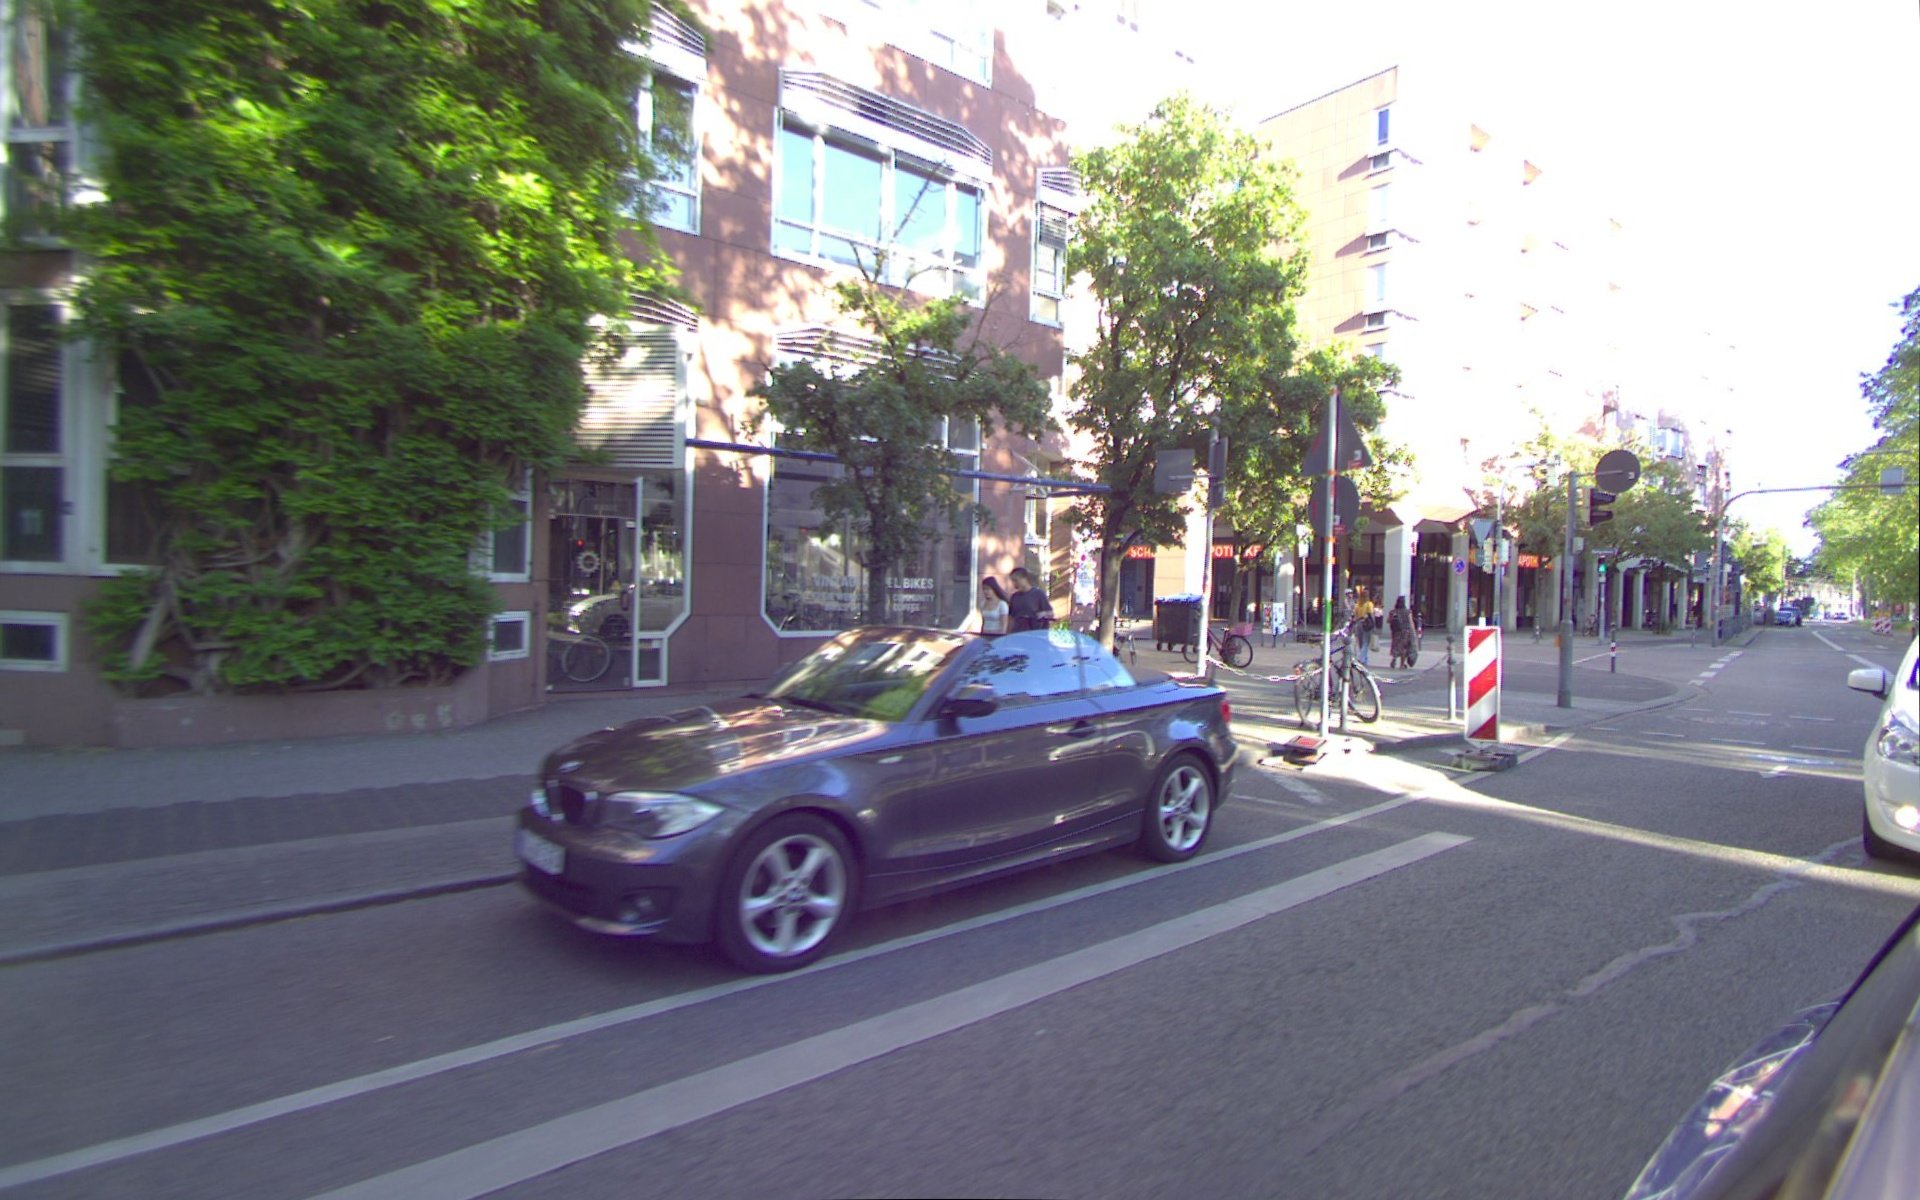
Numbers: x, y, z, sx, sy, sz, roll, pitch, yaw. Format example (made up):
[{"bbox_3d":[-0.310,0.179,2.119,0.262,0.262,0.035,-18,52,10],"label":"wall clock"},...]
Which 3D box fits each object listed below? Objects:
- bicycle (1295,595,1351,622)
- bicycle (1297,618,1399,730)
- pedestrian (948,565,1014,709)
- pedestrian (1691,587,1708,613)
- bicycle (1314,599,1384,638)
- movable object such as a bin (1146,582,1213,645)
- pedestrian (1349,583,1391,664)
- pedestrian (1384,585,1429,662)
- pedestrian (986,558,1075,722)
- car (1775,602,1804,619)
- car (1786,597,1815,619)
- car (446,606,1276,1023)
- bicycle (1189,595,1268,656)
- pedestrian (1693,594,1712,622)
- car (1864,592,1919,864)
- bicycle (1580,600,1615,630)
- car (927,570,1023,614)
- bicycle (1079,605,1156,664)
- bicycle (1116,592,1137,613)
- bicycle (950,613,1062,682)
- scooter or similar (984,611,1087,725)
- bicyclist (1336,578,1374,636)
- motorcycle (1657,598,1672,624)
[{"bbox_3d":[16.662,0.378,46.538,0.583,1.108,2.448,1,1,-40],"label":"bicycle"},{"bbox_3d":[4.296,0.761,11.142,0.734,1.066,1.732,2,1,31],"label":"bicycle"},{"bbox_3d":[0.262,0.434,12.375,0.459,1.693,0.669,2,1,42],"label":"pedestrian"},{"bbox_3d":[58.000,-0.017,79.366,0.806,2.006,0.844,1,0,14],"label":"pedestrian"},{"bbox_3d":[12.407,0.572,32.334,0.789,1.127,1.919,0,1,-40],"label":"bicycle"},{"bbox_3d":[5.488,0.319,25.387,0.855,1.500,1.414,1,1,-37],"label":"movable object such as a bin"},{"bbox_3d":[9.076,0.502,22.380,0.697,1.755,0.758,1,1,33],"label":"pedestrian"},{"bbox_3d":[9.547,0.492,21.631,0.644,1.598,0.736,2,1,44],"label":"pedestrian"},{"bbox_3d":[0.797,0.425,11.476,0.599,1.785,0.787,1,1,-40],"label":"pedestrian"},{"bbox_3d":[76.342,0.956,93.102,1.702,1.502,4.182,4,2,43],"label":"car"},{"bbox_3d":[85.233,0.798,102.626,2.035,1.967,5.124,4,2,39],"label":"car"},{"bbox_3d":[-0.211,0.728,5.378,4.236,1.318,1.623,0,1,-41],"label":"car"},{"bbox_3d":[5.788,0.529,21.870,0.568,1.242,1.569,1,1,-43],"label":"bicycle"},{"bbox_3d":[47.370,0.516,64.529,0.822,1.760,0.782,1,1,-40],"label":"pedestrian"},{"bbox_3d":[7.169,0.706,6.574,1.716,1.470,4.353,-1,-2,44],"label":"car"},{"bbox_3d":[27.425,0.635,43.494,1.891,1.241,0.623,1,1,-37],"label":"bicycle"},{"bbox_3d":[0.606,-0.384,43.110,1.770,1.743,4.194,0,2,-40],"label":"car"},{"bbox_3d":[3.135,0.667,20.331,0.724,1.066,1.756,1,1,-22],"label":"bicycle"},{"bbox_3d":[8.435,0.138,51.237,0.599,1.032,1.320,1,1,-10],"label":"bicycle"},{"bbox_3d":[0.717,0.702,15.492,0.737,0.951,1.724,2,1,45],"label":"bicycle"},{"bbox_3d":[0.851,0.723,11.170,1.228,1.172,0.395,0,1,-44],"label":"scooter or similar"},{"bbox_3d":[12.556,0.216,32.162,0.774,1.792,0.827,0,1,-41],"label":"bicyclist"},{"bbox_3d":[39.984,0.615,57.413,0.488,1.389,2.060,1,1,41],"label":"motorcycle"}]
